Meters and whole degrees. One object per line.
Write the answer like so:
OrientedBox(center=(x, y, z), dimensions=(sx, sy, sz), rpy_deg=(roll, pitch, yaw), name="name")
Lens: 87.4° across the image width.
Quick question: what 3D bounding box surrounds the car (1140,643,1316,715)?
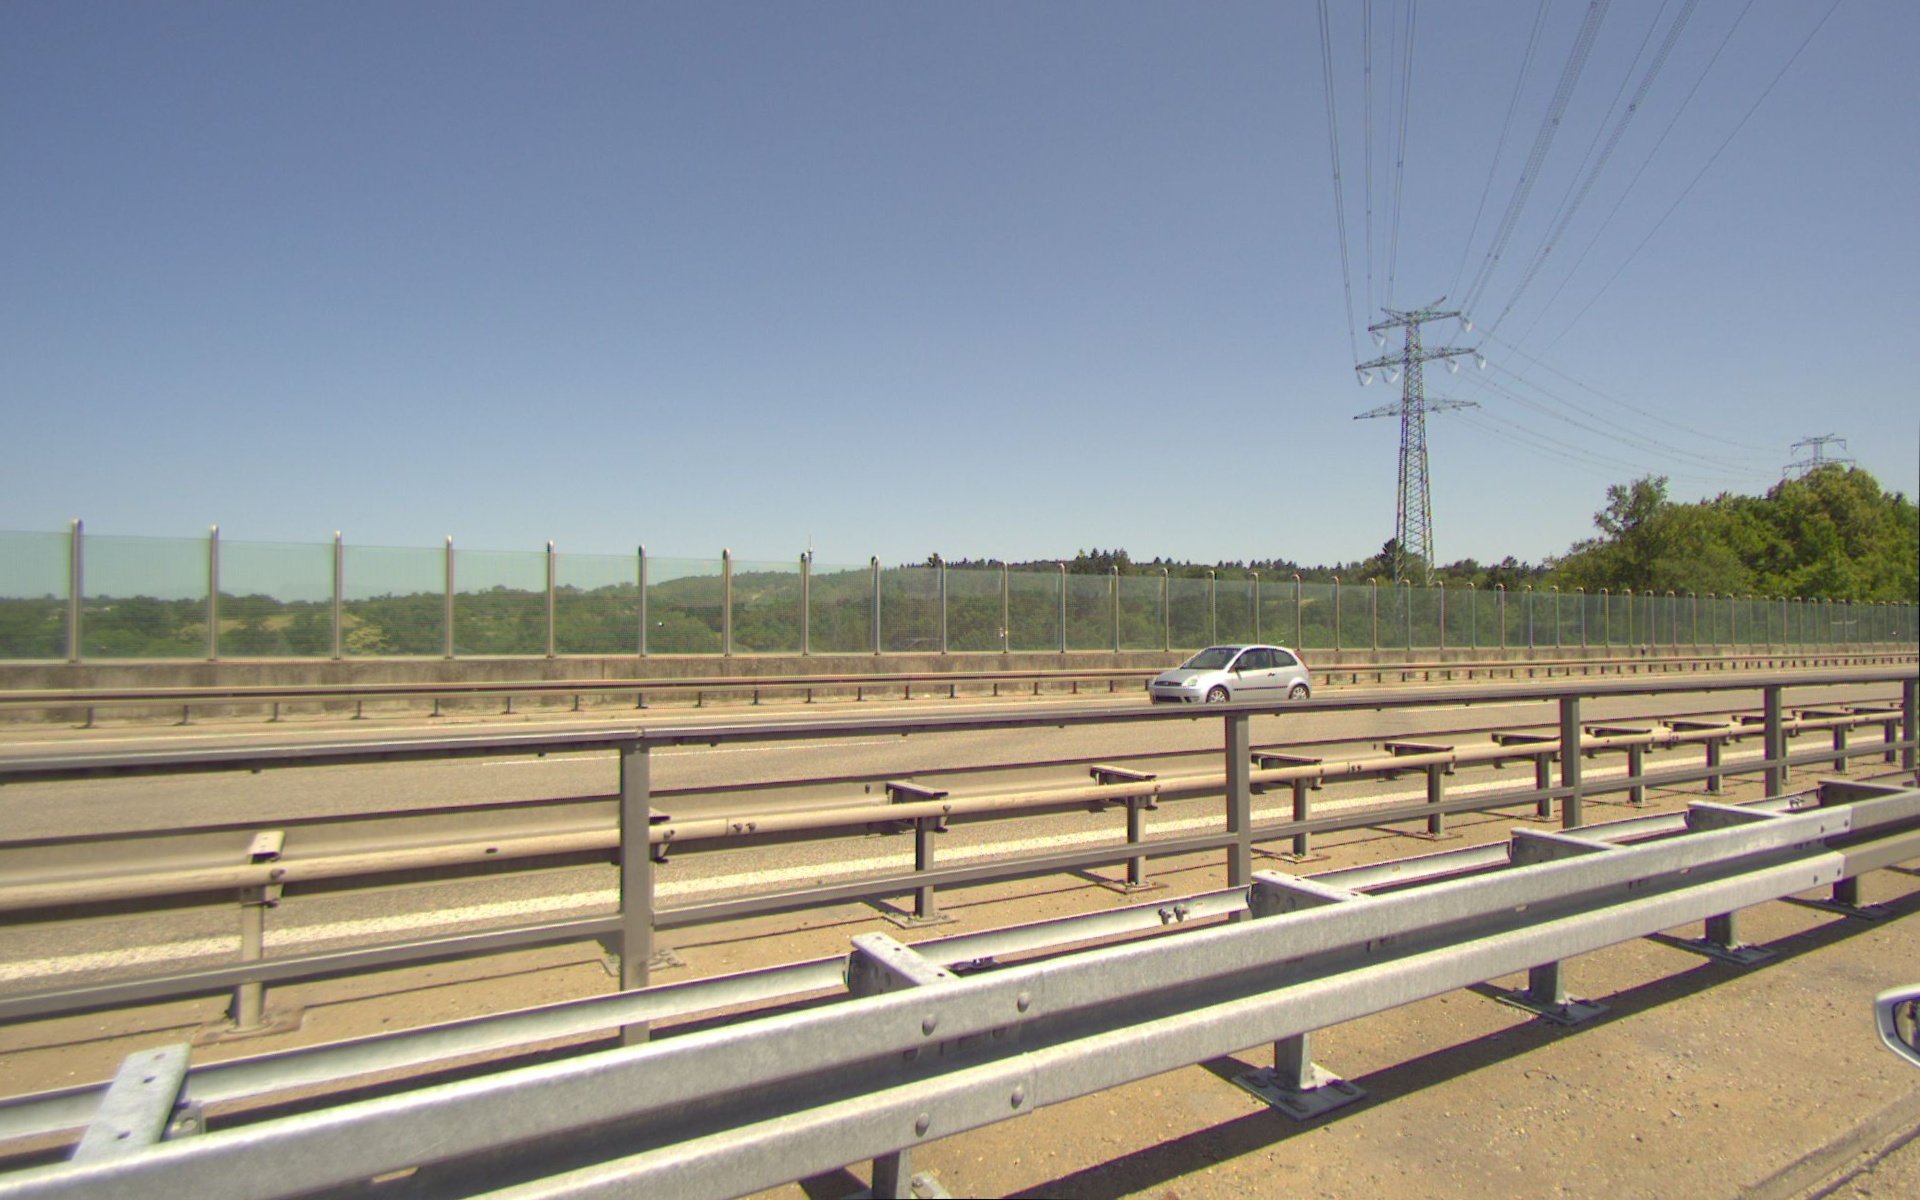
OrientedBox(center=(5.804, 1.657, 21.683), dimensions=(3.633, 1.412, 1.597), rpy_deg=(1, -3, -31), name="car")
